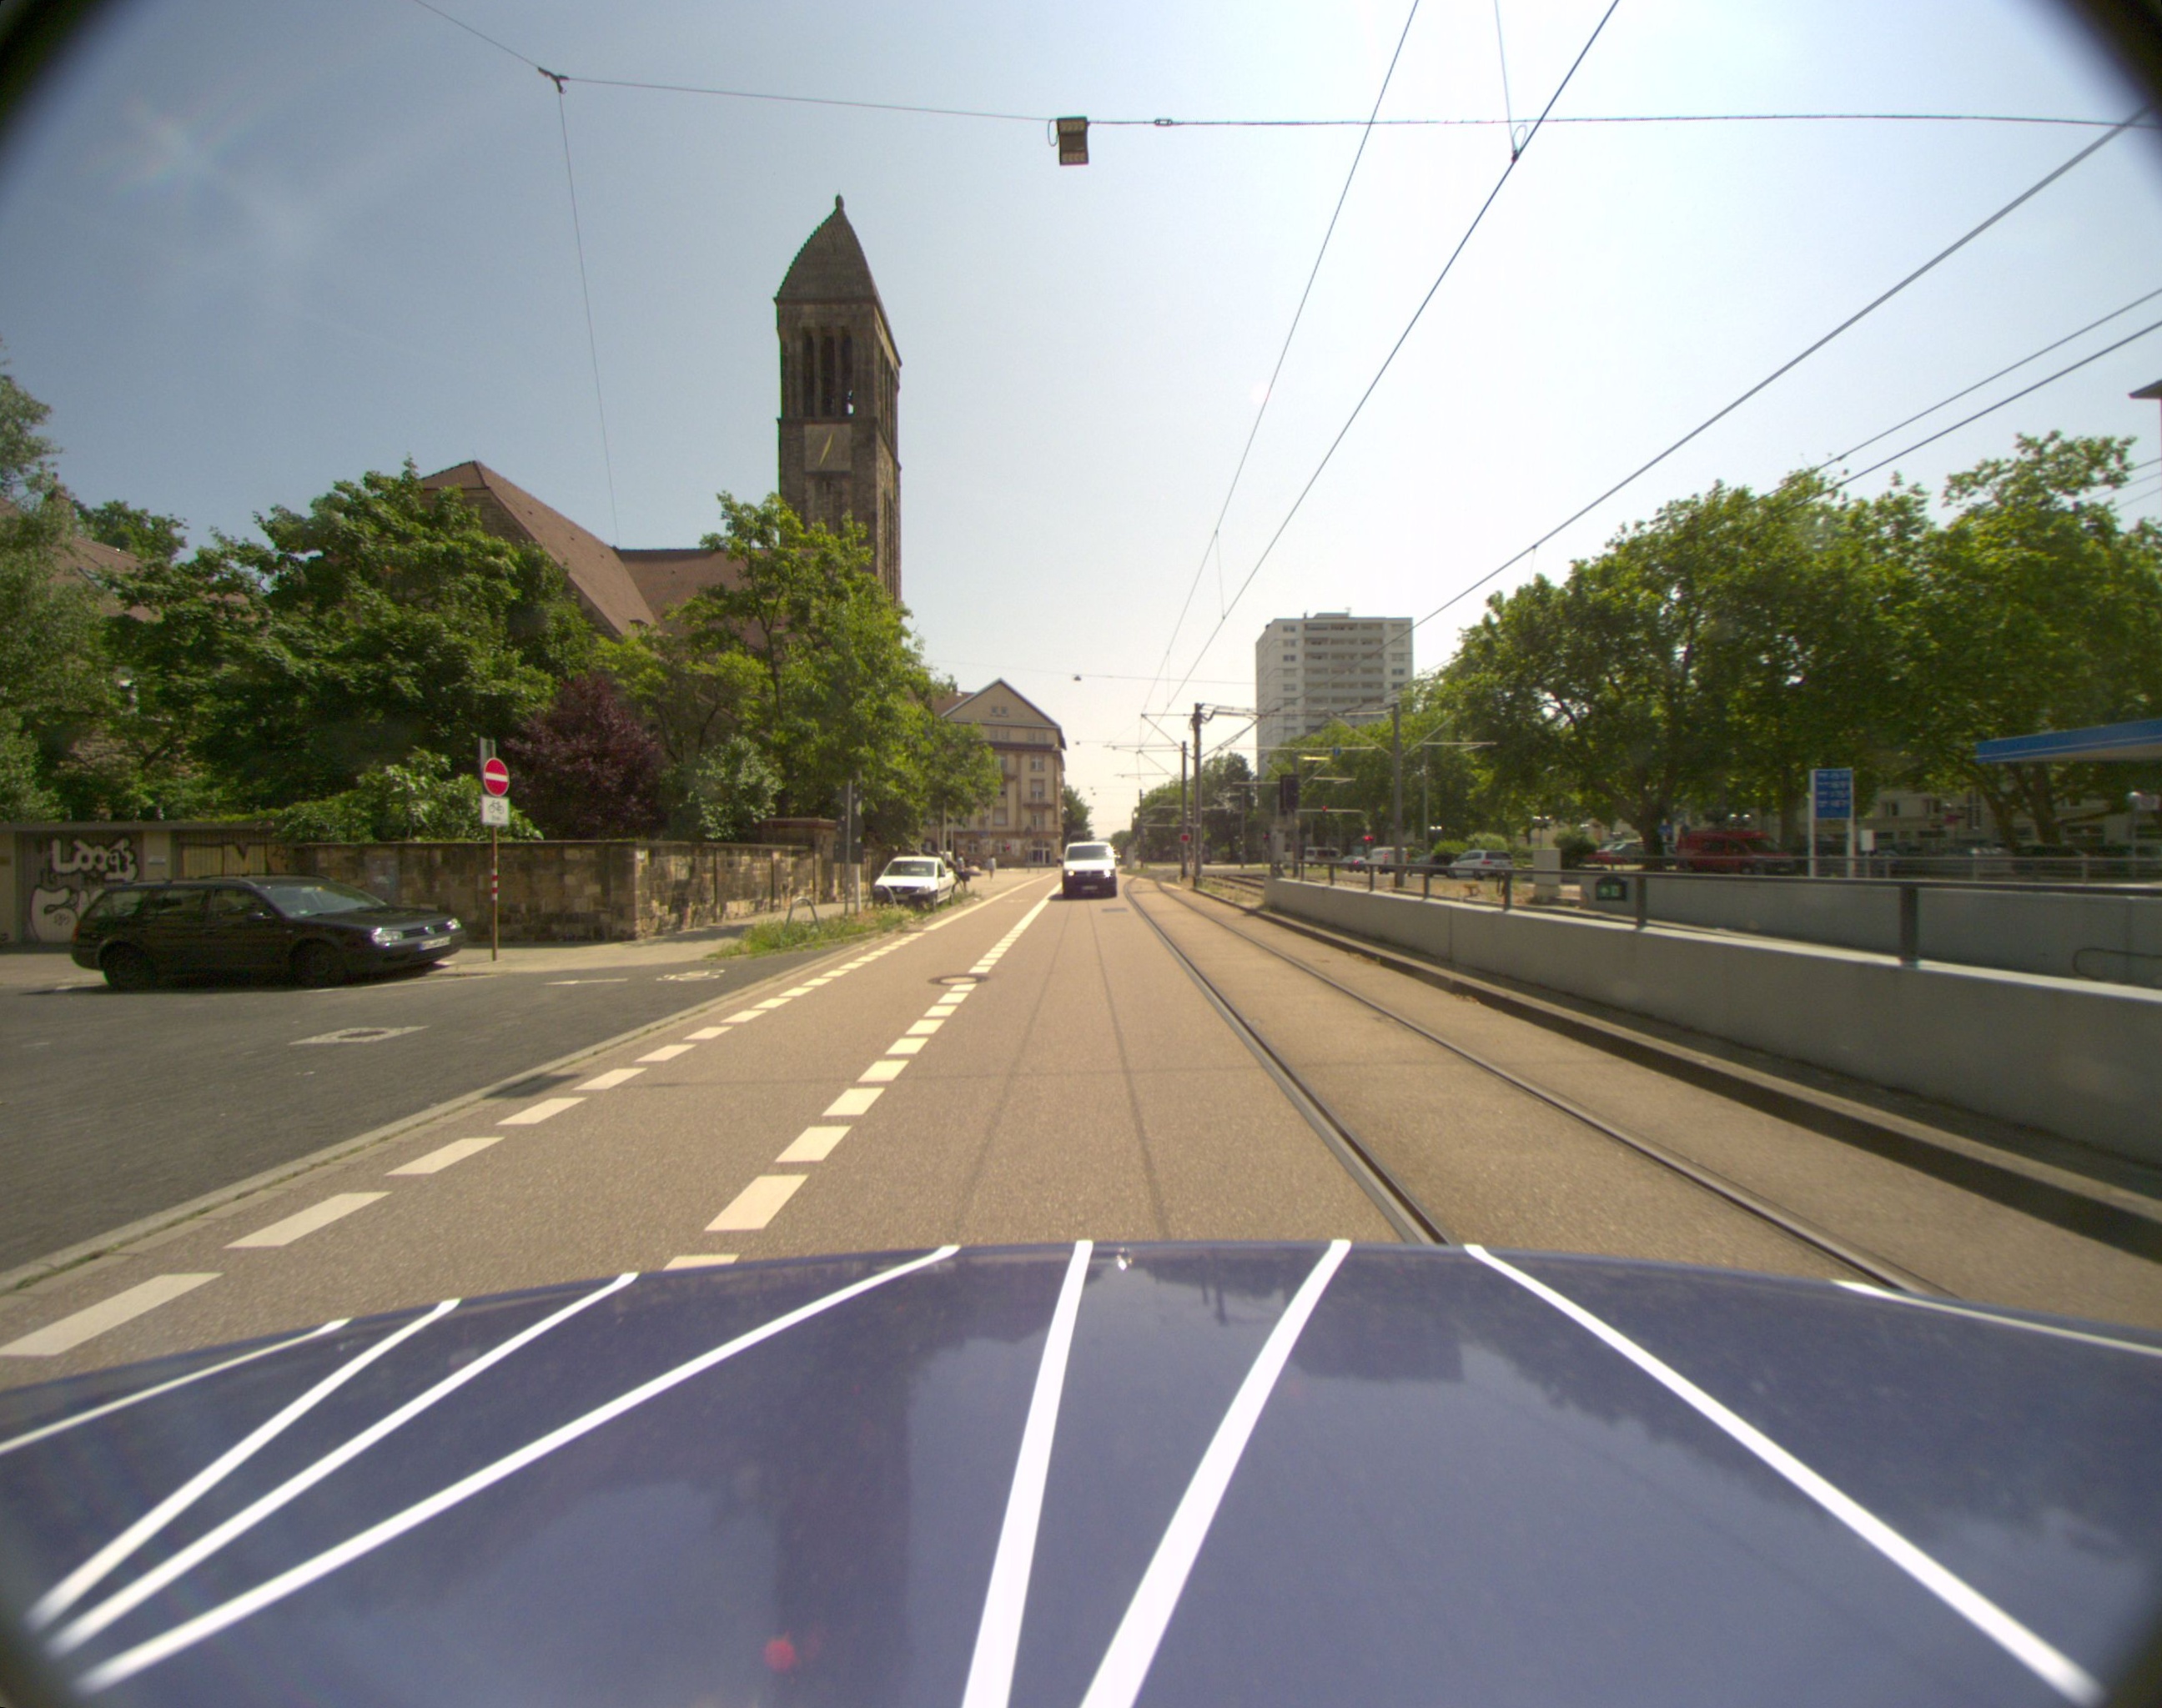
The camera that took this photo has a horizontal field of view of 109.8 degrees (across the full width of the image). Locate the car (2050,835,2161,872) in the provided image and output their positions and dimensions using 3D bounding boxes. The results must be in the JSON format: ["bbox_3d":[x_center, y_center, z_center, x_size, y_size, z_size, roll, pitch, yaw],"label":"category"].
[{"bbox_3d":[58.072,-0.020,42.169,1.922,1.979,5.106,0,0,-4],"label":"car"}]

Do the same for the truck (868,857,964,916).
[{"bbox_3d":[-4.735,0.874,22.417,1.794,1.517,4.465,-1,0,1],"label":"truck"}]

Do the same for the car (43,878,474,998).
[{"bbox_3d":[-11.407,1.120,10.771,4.192,1.482,1.673,0,1,-1],"label":"car"}]

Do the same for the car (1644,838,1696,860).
[{"bbox_3d":[57.801,-0.520,74.671,1.998,2.071,4.000,-1,0,1],"label":"car"}]

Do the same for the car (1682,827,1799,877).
[{"bbox_3d":[34.476,-0.144,39.927,1.851,2.379,4.980,-2,1,0],"label":"car"}]

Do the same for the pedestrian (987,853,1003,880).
[{"bbox_3d":[-5.248,0.763,46.302,0.795,1.641,0.967,-1,0,3],"label":"pedestrian"}]

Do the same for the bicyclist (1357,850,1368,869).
[{"bbox_3d":[25.362,0.458,68.453,0.640,1.676,0.868,-1,1,-2],"label":"bicyclist"}]

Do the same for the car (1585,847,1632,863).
[{"bbox_3d":[49.548,0.119,71.424,3.342,1.375,1.472,-1,0,0],"label":"car"}]

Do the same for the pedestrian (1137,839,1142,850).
[{"bbox_3d":[8.686,-1.418,113.372,0.679,1.695,0.554,-1,1,3],"label":"pedestrian"}]

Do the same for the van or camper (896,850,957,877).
[{"bbox_3d":[-11.090,0.682,54.638,3.997,1.814,1.803,1,-2,0],"label":"van or camper"}]

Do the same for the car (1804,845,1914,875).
[{"bbox_3d":[41.854,0.337,41.017,1.867,1.517,4.000,-1,0,1],"label":"car"}]

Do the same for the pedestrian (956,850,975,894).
[{"bbox_3d":[-4.676,0.720,30.770,0.622,1.744,0.678,-1,1,3],"label":"pedestrian"}]

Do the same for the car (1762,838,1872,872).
[{"bbox_3d":[39.145,0.061,40.548,1.998,1.710,4.000,-1,0,1],"label":"car"}]

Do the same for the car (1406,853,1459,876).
[{"bbox_3d":[22.347,0.656,48.467,1.600,1.412,3.782,1,0,1],"label":"car"}]

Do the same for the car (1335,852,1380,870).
[{"bbox_3d":[22.574,0.562,62.125,1.952,1.351,4.628,-1,0,0],"label":"car"}]

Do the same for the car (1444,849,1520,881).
[{"bbox_3d":[22.109,0.575,42.087,1.851,1.616,4.602,1,0,2],"label":"car"}]

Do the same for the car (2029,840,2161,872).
[{"bbox_3d":[53.815,0.096,40.379,1.868,1.601,3.999,-1,0,-2],"label":"car"}]

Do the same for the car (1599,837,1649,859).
[{"bbox_3d":[53.122,-0.550,74.434,1.998,2.071,4.000,-1,0,1],"label":"car"}]

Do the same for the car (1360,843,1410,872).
[{"bbox_3d":[22.392,0.250,56.132,1.781,1.979,4.804,0,0,0],"label":"car"}]

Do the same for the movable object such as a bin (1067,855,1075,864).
[{"bbox_3d":[-1.697,0.855,125.174,1.214,1.427,1.008,-1,0,-3],"label":"movable object such as a bin"}]

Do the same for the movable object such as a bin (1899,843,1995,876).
[{"bbox_3d":[44.547,0.268,39.144,2.723,1.601,1.986,-1,0,1],"label":"movable object such as a bin"}]

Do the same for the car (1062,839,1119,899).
[{"bbox_3d":[0.342,0.489,27.578,1.852,1.942,4.943,-1,0,1],"label":"car"}]

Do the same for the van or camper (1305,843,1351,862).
[{"bbox_3d":[31.912,-0.216,98.191,5.910,2.447,2.069,0,0,-26],"label":"van or camper"}]

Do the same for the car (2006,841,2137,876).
[{"bbox_3d":[51.652,0.218,39.753,1.603,1.696,4.000,-1,0,0],"label":"car"}]
